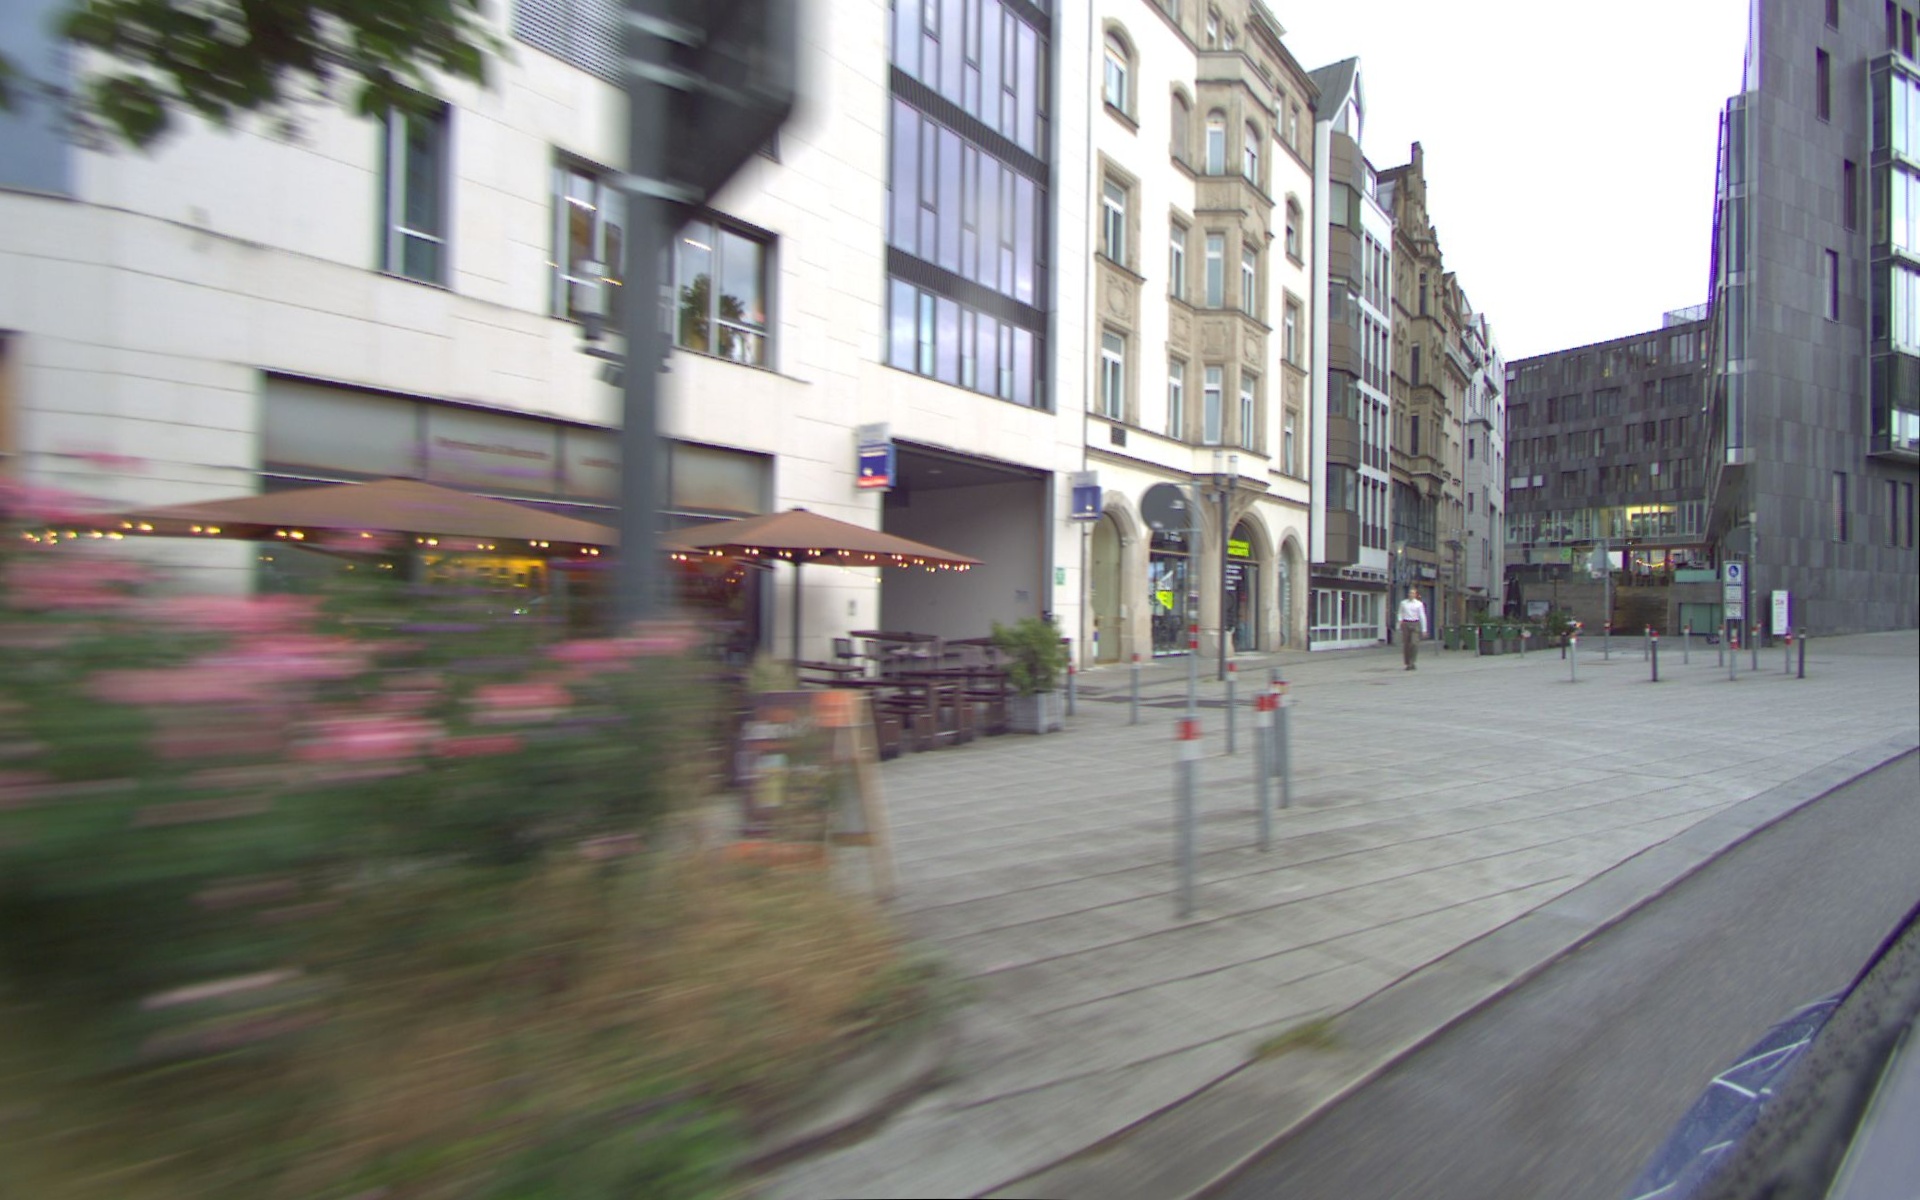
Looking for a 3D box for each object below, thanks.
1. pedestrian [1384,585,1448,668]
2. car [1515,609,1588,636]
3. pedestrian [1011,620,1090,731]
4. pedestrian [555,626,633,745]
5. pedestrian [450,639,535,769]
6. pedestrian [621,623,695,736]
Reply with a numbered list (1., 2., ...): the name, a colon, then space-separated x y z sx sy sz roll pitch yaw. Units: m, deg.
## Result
1. pedestrian: 10.695 0.613 23.722 1.228 1.861 0.873 -1 -2 -41
2. car: 38.623 1.482 66.210 4.032 1.639 1.686 -2 -1 29
3. pedestrian: 1.136 0.937 12.848 0.623 1.343 0.776 -1 -2 -31
4. pedestrian: -4.349 0.993 12.025 0.625 1.343 0.627 -3 -2 39
5. pedestrian: -5.124 1.117 11.092 0.625 1.343 0.627 -3 -2 39
6. pedestrian: -3.778 0.975 12.660 0.625 1.343 0.627 -3 -2 39
